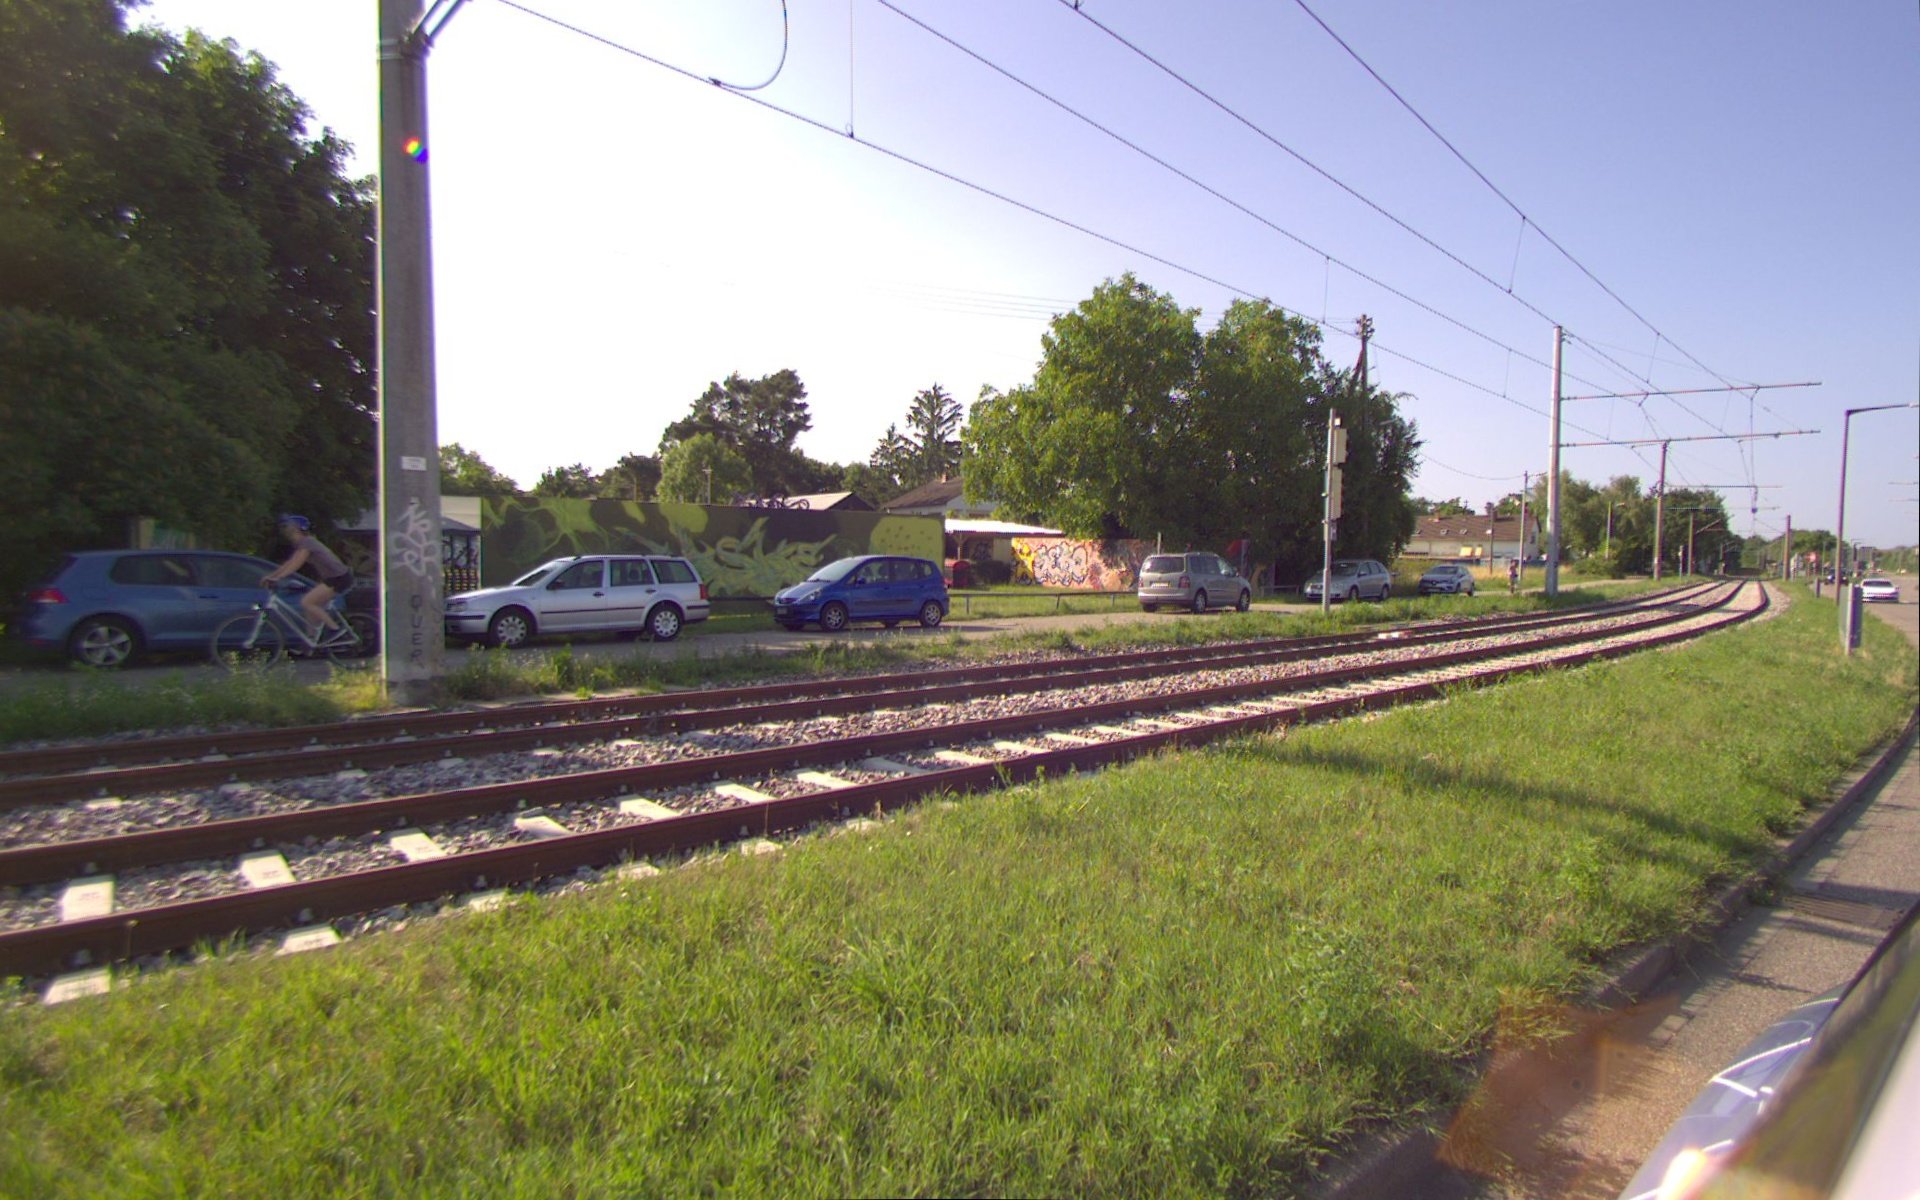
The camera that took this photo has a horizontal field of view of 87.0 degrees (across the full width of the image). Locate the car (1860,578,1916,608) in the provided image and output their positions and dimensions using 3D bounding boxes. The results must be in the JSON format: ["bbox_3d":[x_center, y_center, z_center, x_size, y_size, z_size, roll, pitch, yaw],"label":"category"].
[{"bbox_3d":[54.454,-0.442,59.425,1.958,1.638,4.252,1,2,37],"label":"car"}]

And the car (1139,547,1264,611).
[{"bbox_3d":[6.863,-0.617,28.473,1.521,1.630,4.417,3,3,41],"label":"car"}]

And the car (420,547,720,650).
[{"bbox_3d":[-6.334,-0.080,16.732,4.314,1.483,1.713,-1,3,-41],"label":"car"}]

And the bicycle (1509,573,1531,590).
[{"bbox_3d":[29.665,-0.982,53.570,0.642,0.921,1.786,1,2,42],"label":"bicycle"}]

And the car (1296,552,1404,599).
[{"bbox_3d":[14.524,-0.921,37.572,4.649,1.609,1.909,-1,3,-44],"label":"car"}]

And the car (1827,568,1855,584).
[{"bbox_3d":[84.518,-2.291,97.081,1.829,1.532,4.095,0,1,39],"label":"car"}]

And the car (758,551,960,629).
[{"bbox_3d":[-2.012,-0.212,20.730,3.842,1.448,1.681,-1,1,-40],"label":"car"}]

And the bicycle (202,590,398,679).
[{"bbox_3d":[-7.644,0.360,11.783,1.814,0.921,0.643,-2,2,-45],"label":"bicycle"}]

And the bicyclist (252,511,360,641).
[{"bbox_3d":[-7.616,-0.284,11.799,0.947,1.440,0.630,-1,2,-45],"label":"bicyclist"}]

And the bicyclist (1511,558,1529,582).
[{"bbox_3d":[29.620,-1.581,53.524,0.639,1.248,0.779,1,2,42],"label":"bicyclist"}]

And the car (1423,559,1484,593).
[{"bbox_3d":[22.595,-1.105,46.288,1.532,1.466,4.072,3,3,40],"label":"car"}]

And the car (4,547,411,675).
[{"bbox_3d":[-9.633,0.051,13.221,1.485,1.418,4.085,3,3,44],"label":"car"}]
